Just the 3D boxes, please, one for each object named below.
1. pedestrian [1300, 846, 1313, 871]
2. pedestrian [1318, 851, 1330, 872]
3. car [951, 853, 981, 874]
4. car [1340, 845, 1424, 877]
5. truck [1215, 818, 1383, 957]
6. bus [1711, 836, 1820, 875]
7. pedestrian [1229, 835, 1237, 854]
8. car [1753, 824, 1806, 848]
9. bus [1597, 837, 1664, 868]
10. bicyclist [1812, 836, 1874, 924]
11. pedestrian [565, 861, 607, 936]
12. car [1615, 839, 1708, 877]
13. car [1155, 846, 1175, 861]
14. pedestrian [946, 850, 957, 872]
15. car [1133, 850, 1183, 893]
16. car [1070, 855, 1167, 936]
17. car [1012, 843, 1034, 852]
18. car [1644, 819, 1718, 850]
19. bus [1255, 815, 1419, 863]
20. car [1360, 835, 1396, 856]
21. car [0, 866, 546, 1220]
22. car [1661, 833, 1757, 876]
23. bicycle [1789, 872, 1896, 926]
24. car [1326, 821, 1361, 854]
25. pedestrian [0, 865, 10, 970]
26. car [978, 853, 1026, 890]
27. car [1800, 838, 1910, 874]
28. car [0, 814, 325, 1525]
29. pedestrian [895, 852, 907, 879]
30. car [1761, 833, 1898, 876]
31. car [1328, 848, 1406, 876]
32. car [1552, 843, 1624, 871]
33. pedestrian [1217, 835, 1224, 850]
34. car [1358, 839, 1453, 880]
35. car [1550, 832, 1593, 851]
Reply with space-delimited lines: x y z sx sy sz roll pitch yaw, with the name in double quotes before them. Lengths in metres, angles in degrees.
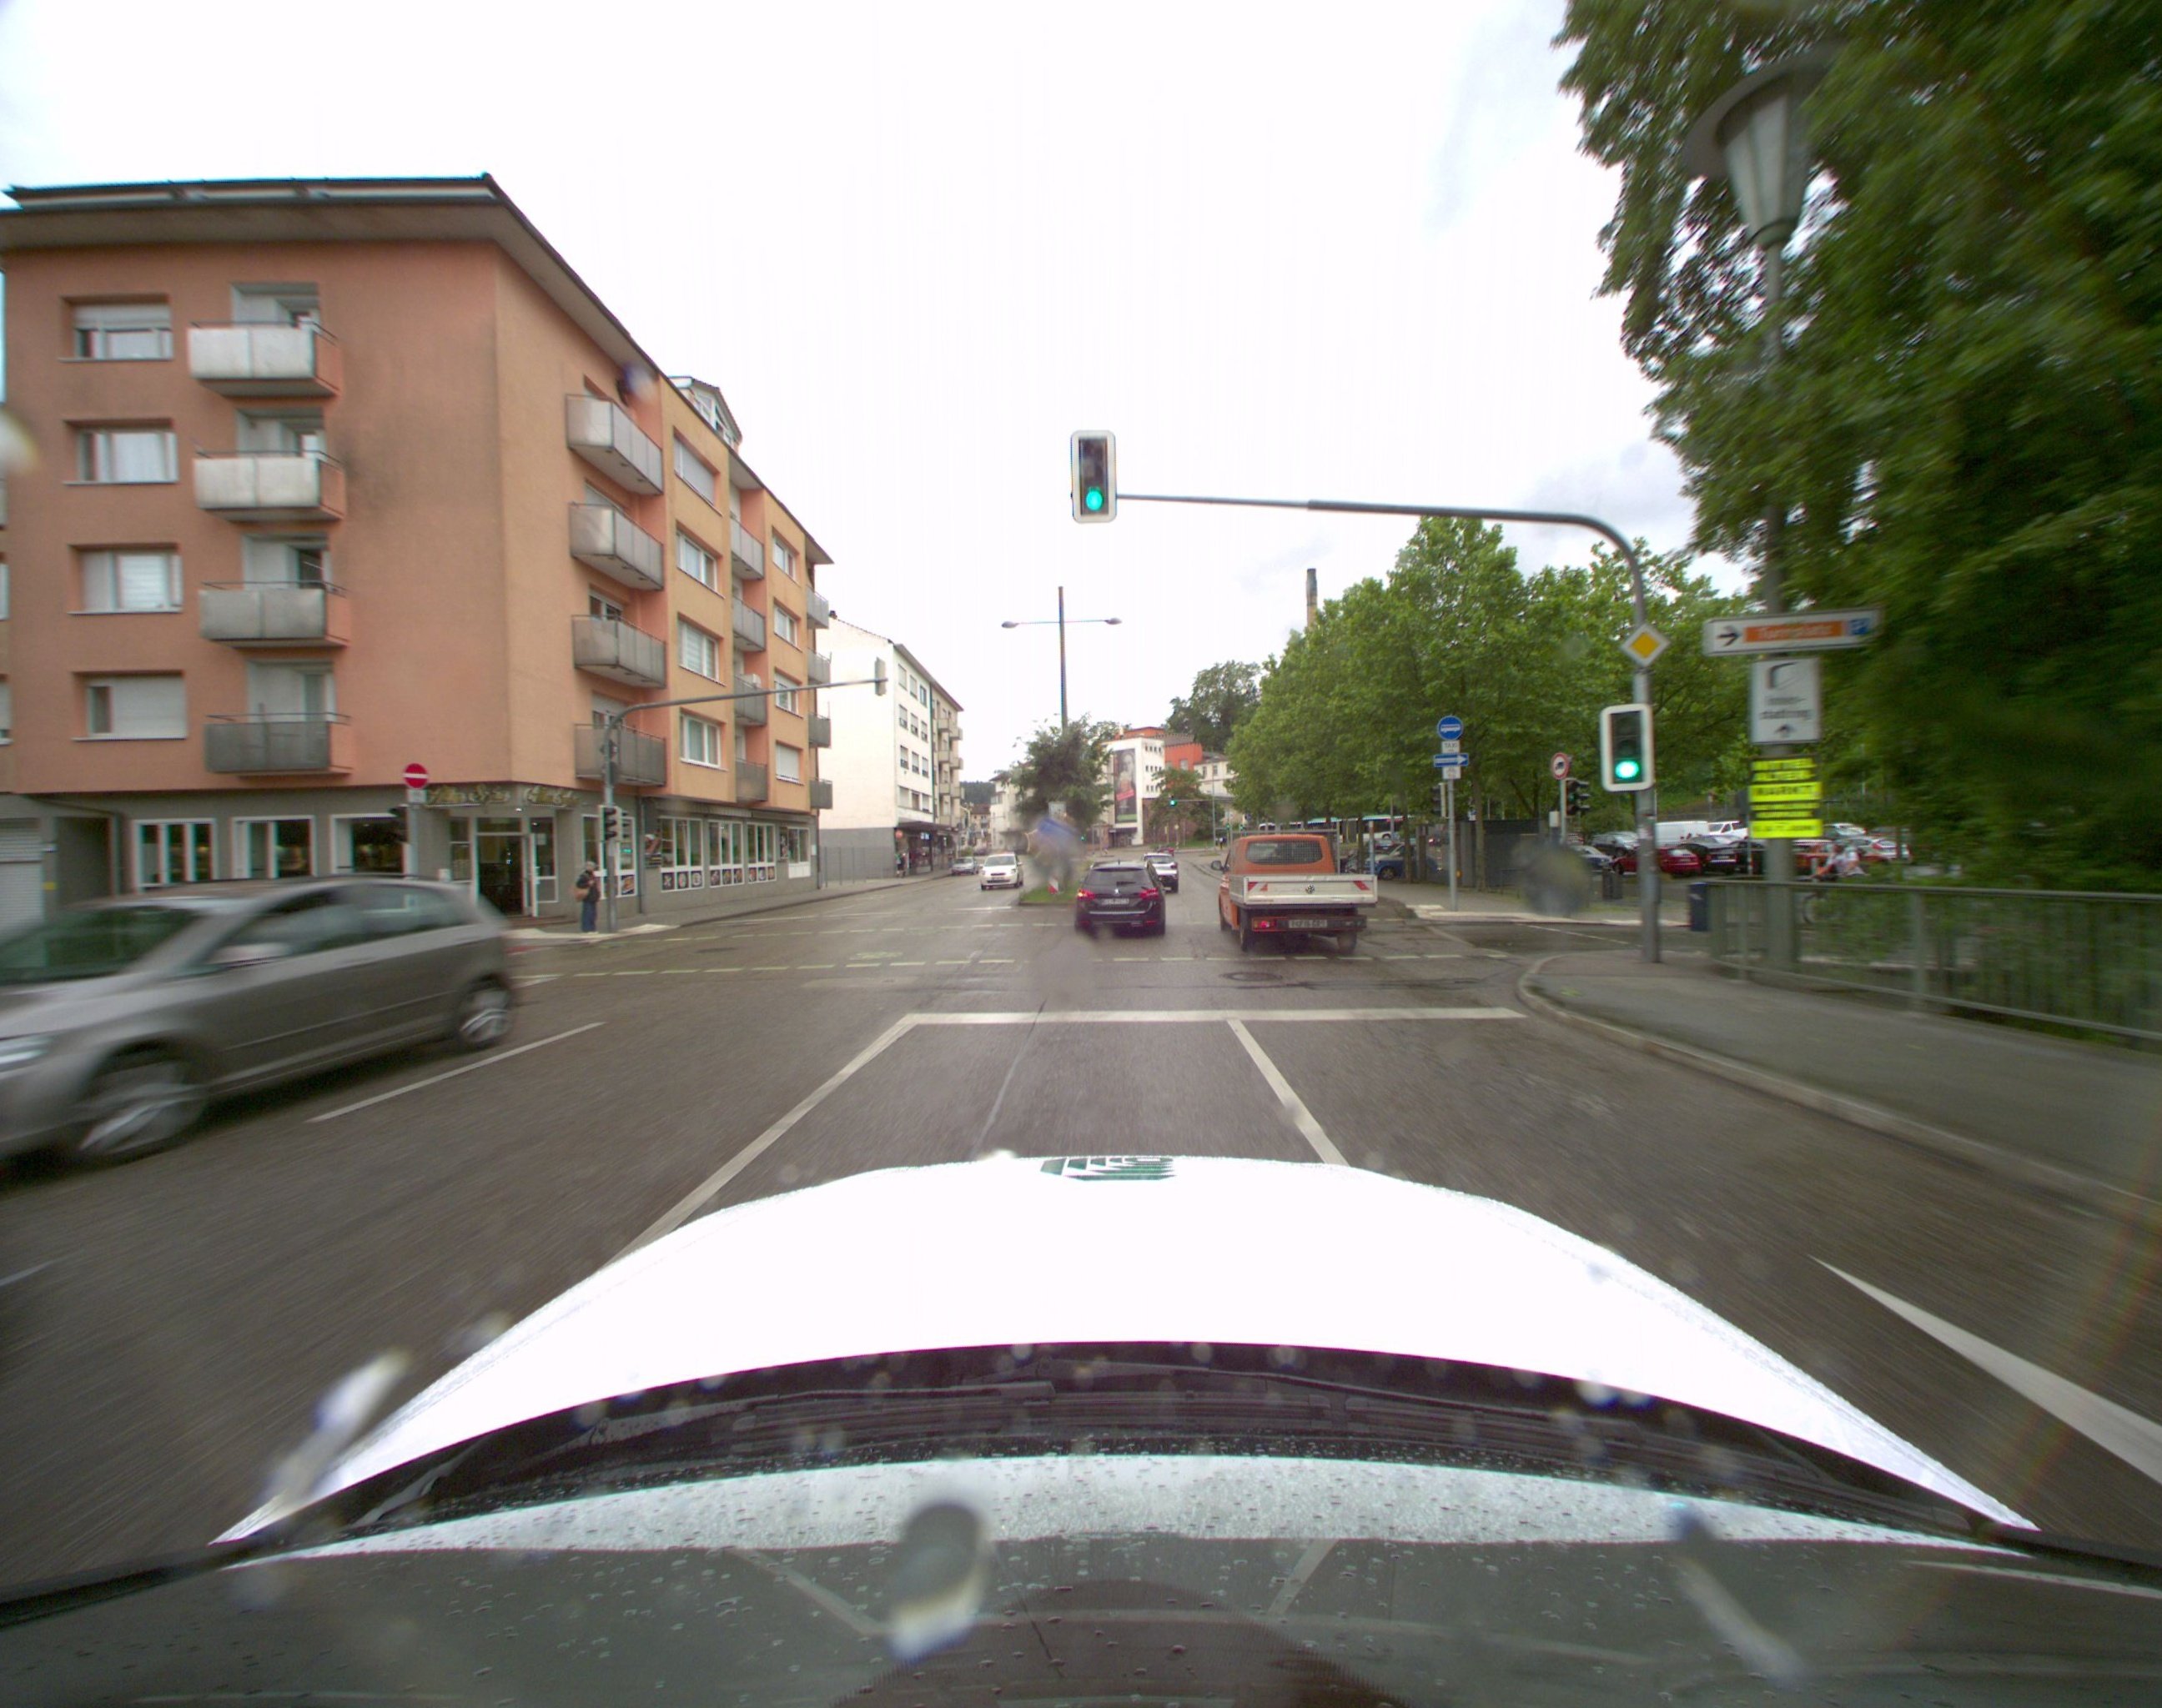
"pedestrian" 15.219 0.307 54.953 0.721 1.700 0.623 0 0 2
"pedestrian" 15.994 0.495 53.667 0.618 1.357 0.727 0 0 3
"car" -9.026 0.715 64.249 1.771 1.525 3.661 -1 1 0
"car" 16.543 0.374 44.921 3.969 1.649 1.919 1 1 4
"truck" 3.627 0.476 14.470 2.111 2.025 4.723 -1 0 6
"bus" 32.259 0.060 38.549 1.985 1.723 4.004 0 0 3
"pedestrian" 17.058 -1.071 91.273 0.715 1.992 0.563 -2 2 0
"car" 59.053 -1.472 68.905 1.871 1.922 4.017 -1 1 15
"bus" 37.148 -0.046 55.169 1.985 1.948 4.003 1 -2 4
"bicyclist" 16.577 0.552 17.729 0.641 1.887 0.751 1 0 -6
"pedestrian" -11.732 1.046 19.310 0.528 1.727 0.649 -1 1 4
"car" 27.569 0.188 38.819 1.592 1.651 3.632 -2 0 -5
"car" 9.068 -0.049 87.882 1.641 1.564 3.596 2 -2 -2
"pedestrian" -11.922 0.659 75.030 0.731 2.014 0.651 3 -2 -32
"car" 2.961 0.641 31.823 1.787 1.483 4.004 -2 1 4
"car" 0.819 0.775 17.087 1.787 1.483 4.004 0 0 4
"car" -9.346 -1.020 130.841 1.609 1.510 3.557 -1 0 -41
"car" 40.159 -1.284 54.634 1.987 2.013 4.063 -1 0 0
"bus" 29.163 -1.722 93.406 17.840 5.211 3.102 0 0 3
"car" 26.965 -0.770 74.056 1.823 1.826 4.229 0 0 2
"car" -6.076 0.966 5.889 1.731 1.601 3.920 -2 1 1
"car" 30.184 0.080 39.277 1.818 1.904 4.005 1 -2 5
"bicycle" 16.453 0.965 17.601 1.942 1.123 0.519 1 0 -5
"car" 24.257 -1.475 75.397 2.065 2.970 4.229 0 0 2
"pedestrian" -15.304 0.891 11.083 0.645 1.445 0.804 -3 -2 31
"car" -3.464 0.724 36.268 1.648 1.449 3.545 -3 0 2
"car" 37.863 0.087 39.973 1.811 1.651 4.005 0 0 4
"car" -3.349 0.767 0.632 1.730 1.601 3.920 -3 1 1
"pedestrian" -12.364 0.796 55.955 0.637 1.861 0.523 0 1 -1
"car" 30.684 0.018 33.441 4.112 1.621 1.804 -1 1 -4
"car" 16.628 0.464 47.490 3.969 1.509 1.745 1 1 4
"car" 27.555 0.157 44.396 1.662 1.433 4.005 -1 0 4
"pedestrian" 16.385 -1.365 95.503 0.638 1.664 0.563 -2 2 0
"car" 16.066 0.253 40.461 3.969 1.924 1.972 0 1 4
"car" 42.834 -1.100 71.201 1.625 1.567 3.610 -1 1 2
